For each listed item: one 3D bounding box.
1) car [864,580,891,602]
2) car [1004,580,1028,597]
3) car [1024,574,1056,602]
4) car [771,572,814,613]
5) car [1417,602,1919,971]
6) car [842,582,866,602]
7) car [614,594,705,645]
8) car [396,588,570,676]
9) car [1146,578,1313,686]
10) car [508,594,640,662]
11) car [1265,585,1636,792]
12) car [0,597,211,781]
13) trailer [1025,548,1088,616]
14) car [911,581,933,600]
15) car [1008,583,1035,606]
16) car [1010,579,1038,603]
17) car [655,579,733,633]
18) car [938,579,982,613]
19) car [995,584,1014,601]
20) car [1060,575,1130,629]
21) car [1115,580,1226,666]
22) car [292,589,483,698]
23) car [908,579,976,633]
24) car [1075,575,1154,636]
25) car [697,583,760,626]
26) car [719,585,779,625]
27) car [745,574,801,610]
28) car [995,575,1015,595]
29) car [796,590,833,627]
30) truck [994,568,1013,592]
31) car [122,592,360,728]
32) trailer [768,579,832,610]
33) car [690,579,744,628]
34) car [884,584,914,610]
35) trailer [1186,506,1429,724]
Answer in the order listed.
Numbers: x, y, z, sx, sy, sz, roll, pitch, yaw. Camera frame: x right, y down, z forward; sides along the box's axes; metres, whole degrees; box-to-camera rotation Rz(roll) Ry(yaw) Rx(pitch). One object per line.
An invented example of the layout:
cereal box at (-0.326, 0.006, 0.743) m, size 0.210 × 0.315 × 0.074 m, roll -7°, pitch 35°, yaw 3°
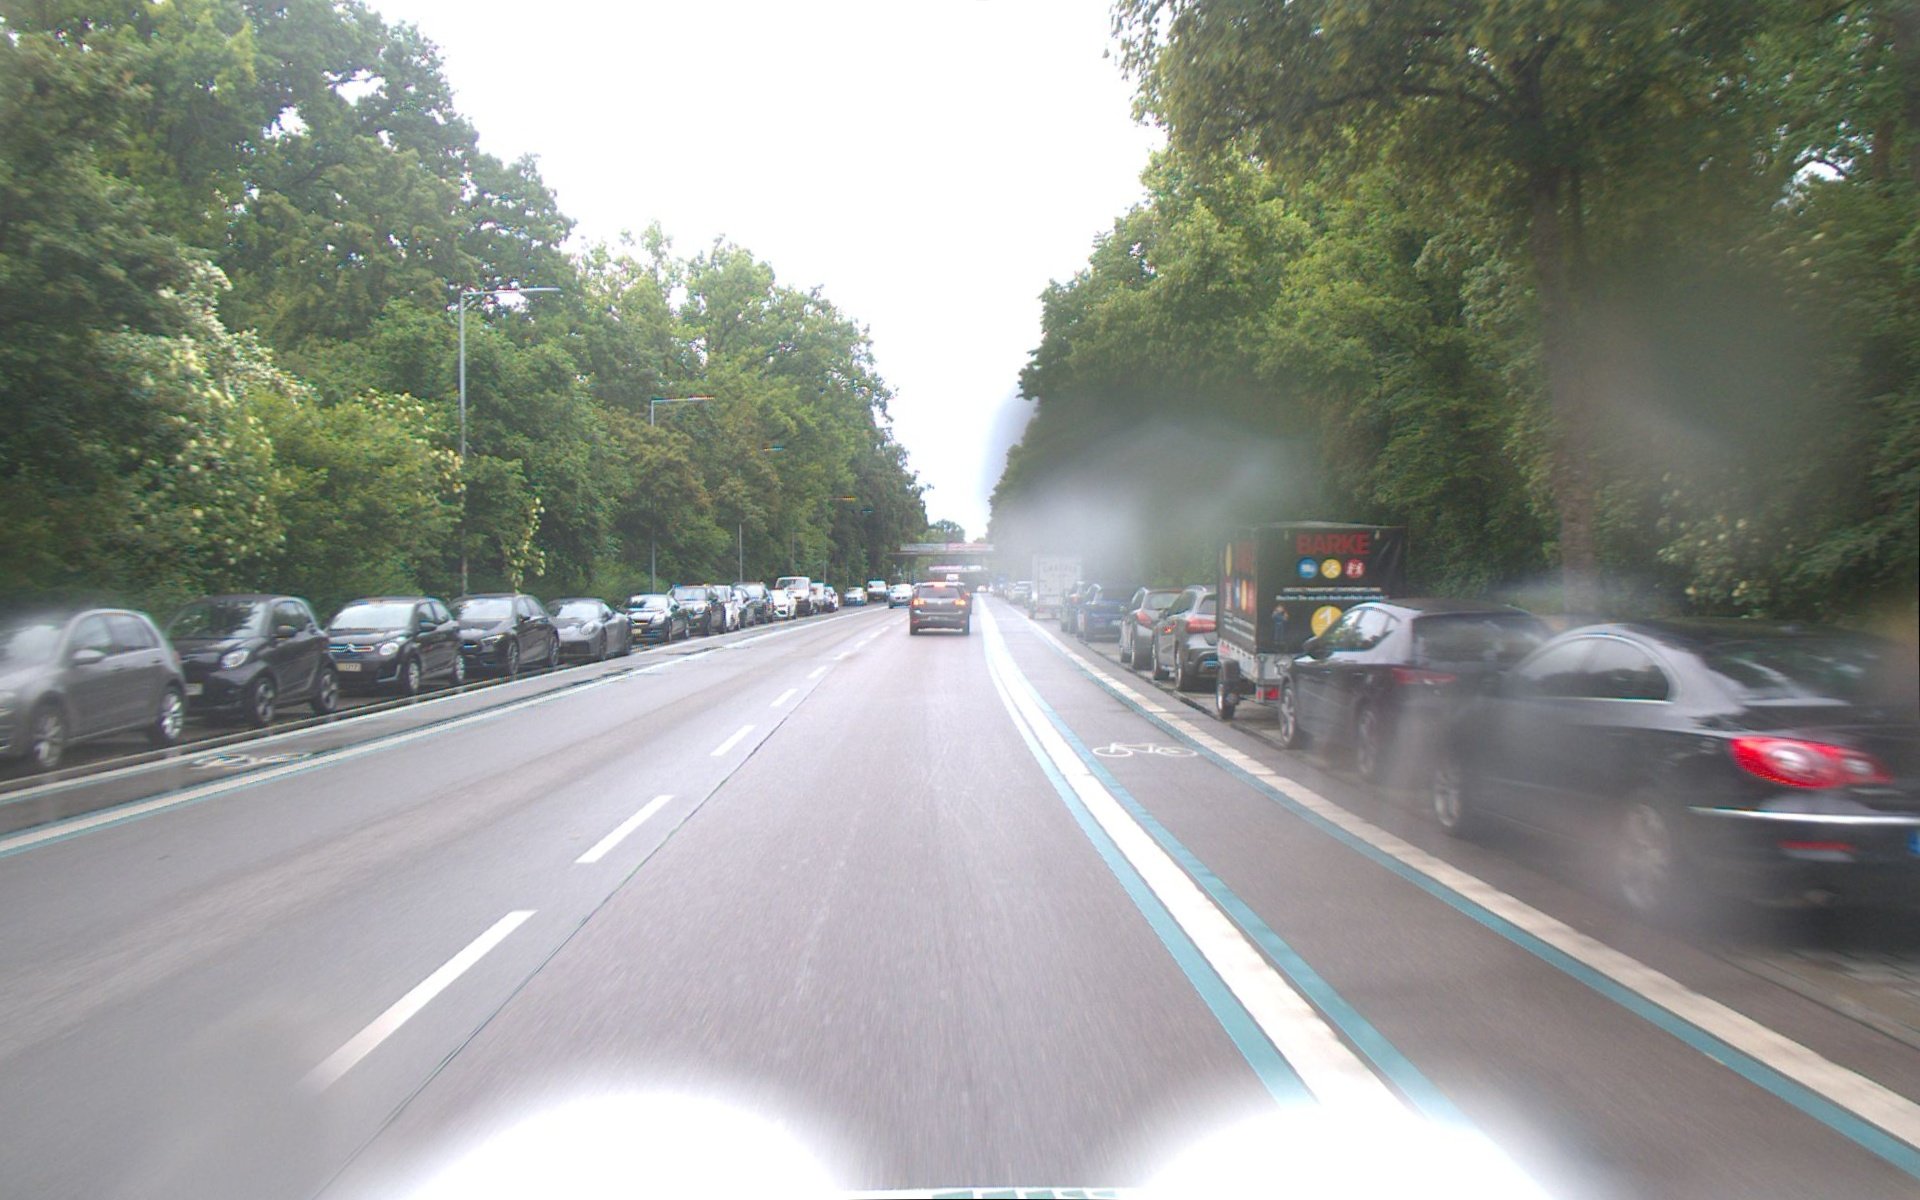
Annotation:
car at (-7.640, -0.868, 153.988) m, size 2.114 × 2.049 × 5.032 m, roll -1°, pitch 1°, yaw 1°
car at (5.052, -1.036, 149.895) m, size 1.953 × 1.557 × 4.000 m, roll 0°, pitch 0°, yaw -1°
car at (4.608, -0.679, 95.190) m, size 1.686 × 1.552 × 4.000 m, roll -1°, pitch 1°, yaw 1°
car at (-8.507, -0.407, 84.523) m, size 1.901 × 2.049 × 4.738 m, roll -1°, pitch 1°, yaw -3°
car at (4.024, 0.754, 8.798) m, size 1.717 × 1.418 × 4.443 m, roll 1°, pitch 0°, yaw -3°
car at (-8.296, -0.659, 129.518) m, size 1.638 × 1.540 × 3.630 m, roll 0°, pitch 1°, yaw -1°
car at (-8.317, 0.511, 46.073) m, size 1.661 × 1.323 × 4.193 m, roll -1°, pitch 1°, yaw 1°
car at (-8.808, 0.549, 30.918) m, size 1.952 × 1.477 × 4.139 m, roll -1°, pitch 1°, yaw 1°
car at (4.004, 0.415, 25.247) m, size 1.759 × 1.475 × 4.428 m, roll -1°, pitch 1°, yaw -1°
car at (-8.246, 0.564, 35.724) m, size 1.831 × 1.326 × 4.470 m, roll -1°, pitch 1°, yaw 0°
car at (4.057, 0.643, 14.454) m, size 1.786 × 1.511 × 4.197 m, roll 1°, pitch 0°, yaw -3°
car at (-8.990, 0.771, 16.046) m, size 1.646 × 1.524 × 4.147 m, roll -2°, pitch 1°, yaw -2°
trailer at (3.829, -0.724, 66.417) m, size 2.089 × 2.605 × 4.296 m, roll -1°, pitch 1°, yaw -2°
car at (-3.252, -0.788, 141.143) m, size 1.798 × 1.544 × 4.000 m, roll -1°, pitch 1°, yaw -1°
car at (4.436, -0.407, 119.521) m, size 1.858 × 1.634 × 4.000 m, roll -1°, pitch 1°, yaw 1°
car at (4.429, -0.634, 114.904) m, size 1.858 × 1.634 × 4.000 m, roll -1°, pitch 1°, yaw 1°
car at (-8.250, 0.155, 51.621) m, size 1.661 × 1.611 × 4.139 m, roll -1°, pitch 1°, yaw 1°
car at (-0.009, -0.210, 77.805) m, size 1.843 × 1.491 × 3.998 m, roll 1°, pitch 1°, yaw -3°
car at (4.854, -0.834, 181.873) m, size 1.953 × 1.803 × 4.000 m, roll -2°, pitch 0°, yaw 1°
car at (3.984, 0.041, 49.174) m, size 1.678 × 1.539 × 3.975 m, roll 0°, pitch 1°, yaw -1°
car at (3.862, 0.379, 30.867) m, size 1.582 × 1.496 × 4.000 m, roll 0°, pitch 1°, yaw 1°
car at (-8.968, 0.625, 26.235) m, size 1.569 × 1.536 × 3.977 m, roll -1°, pitch 1°, yaw 1°
car at (-0.561, 0.205, 47.785) m, size 1.834 × 1.466 × 4.294 m, roll 1°, pitch -1°, yaw -2°
car at (4.016, 0.114, 43.552) m, size 1.647 × 1.507 × 4.318 m, roll 0°, pitch 1°, yaw 0°
car at (-8.574, 0.147, 61.528) m, size 1.771 × 1.514 × 4.468 m, roll 0°, pitch 1°, yaw -1°
car at (-8.583, 0.179, 67.597) m, size 1.841 × 1.588 × 4.469 m, roll 0°, pitch 1°, yaw 0°
car at (-8.329, -0.373, 74.144) m, size 1.952 × 1.514 × 4.469 m, roll 0°, pitch 1°, yaw 0°
car at (4.766, -1.588, 174.623) m, size 1.953 × 2.049 × 3.999 m, roll 0°, pitch 0°, yaw -1°
car at (-8.322, 0.450, 95.120) m, size 1.901 × 2.049 × 4.738 m, roll -1°, pitch 1°, yaw -3°
truck at (4.949, -2.310, 189.643) m, size 2.069 × 2.644 × 4.301 m, roll -1°, pitch 1°, yaw 0°
car at (-8.968, 0.694, 20.888) m, size 1.569 × 1.536 × 3.139 m, roll -1°, pitch 1°, yaw 1°
trailer at (-8.669, -0.306, 89.624) m, size 1.595 × 1.657 × 3.665 m, roll 0°, pitch 1°, yaw 31°
car at (-8.256, 0.103, 56.408) m, size 1.431 × 1.598 × 2.984 m, roll -1°, pitch 1°, yaw -1°
car at (-3.812, -0.185, 103.841) m, size 1.664 × 1.510 × 4.035 m, roll -2°, pitch 1°, yaw 0°
trailer at (3.998, 0.125, 19.855) m, size 1.867 × 2.287 × 4.767 m, roll 0°, pitch 1°, yaw -1°
